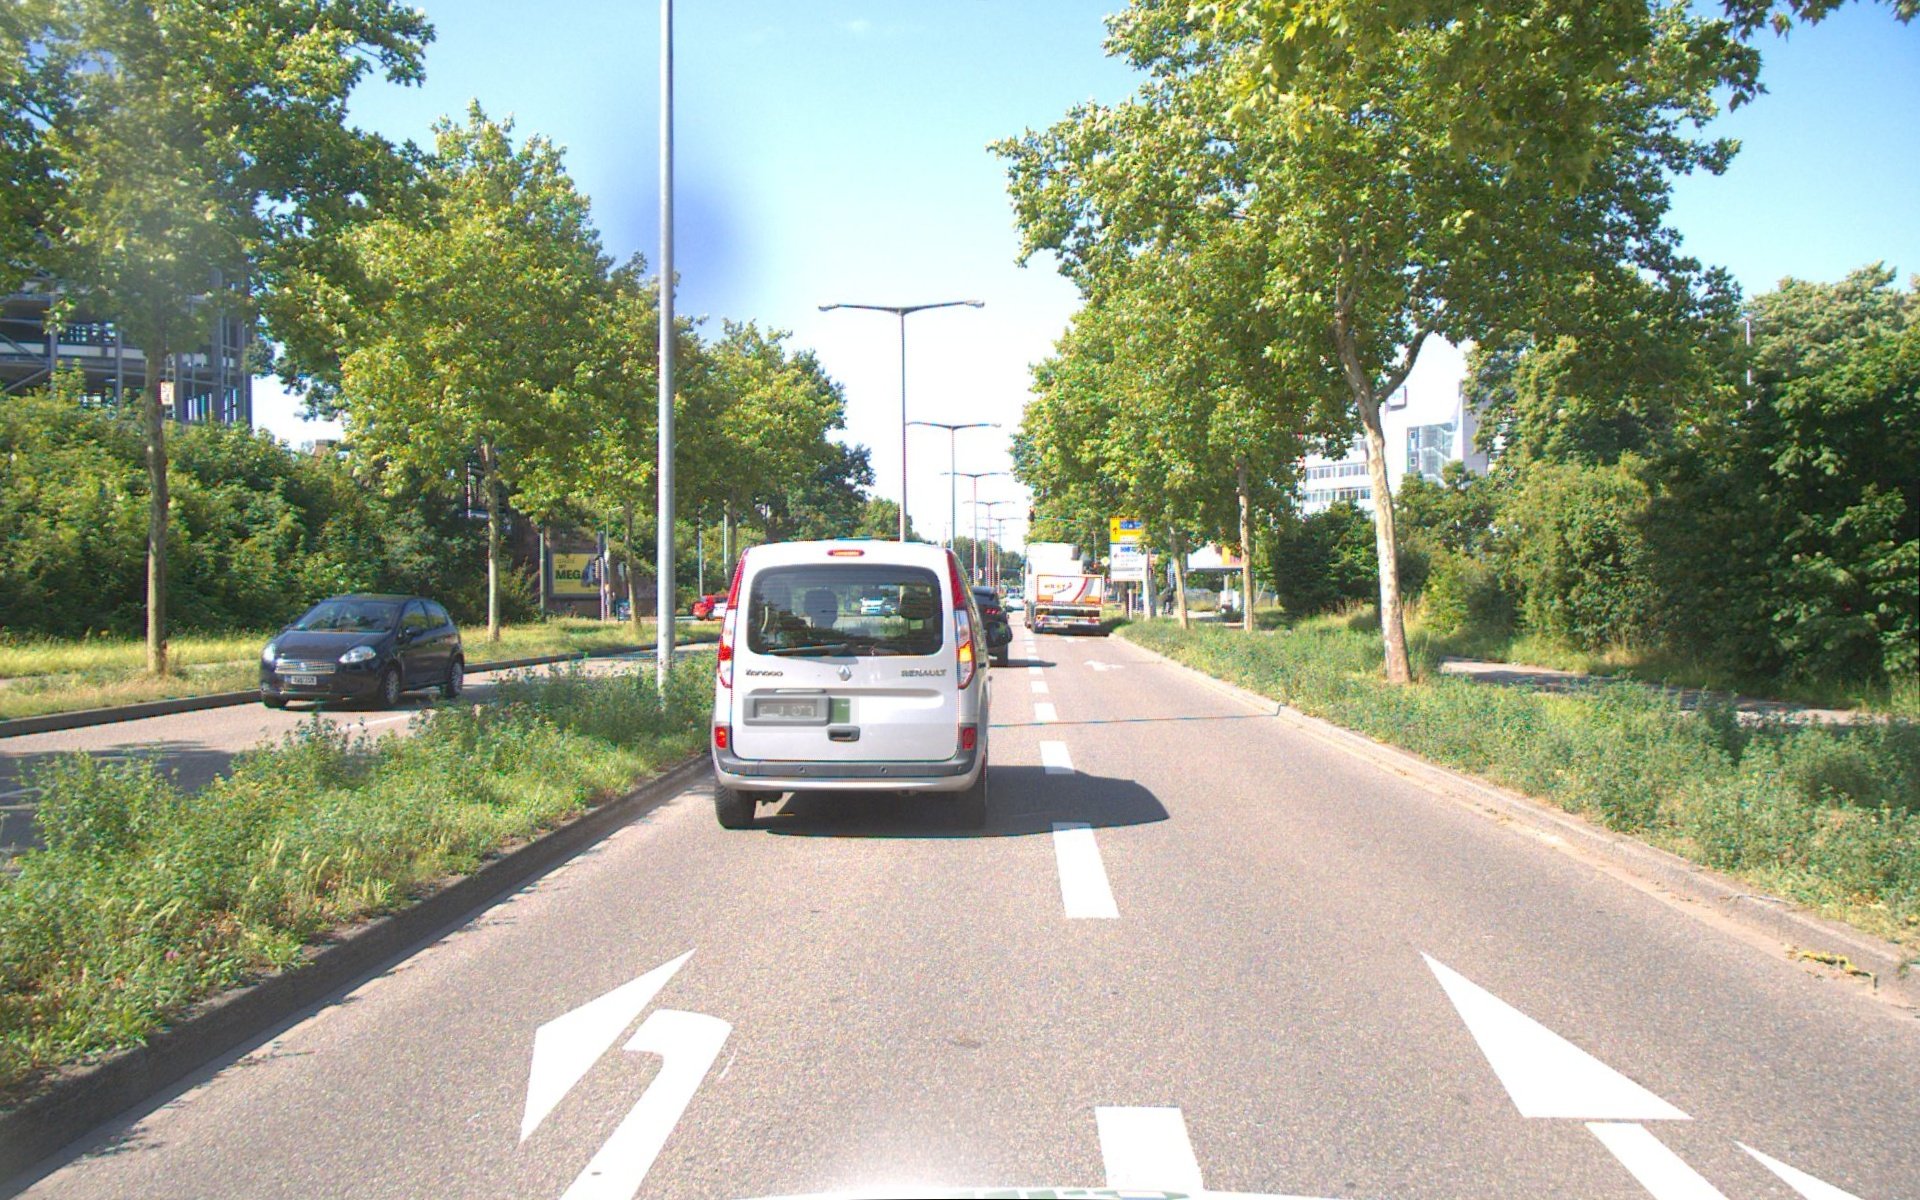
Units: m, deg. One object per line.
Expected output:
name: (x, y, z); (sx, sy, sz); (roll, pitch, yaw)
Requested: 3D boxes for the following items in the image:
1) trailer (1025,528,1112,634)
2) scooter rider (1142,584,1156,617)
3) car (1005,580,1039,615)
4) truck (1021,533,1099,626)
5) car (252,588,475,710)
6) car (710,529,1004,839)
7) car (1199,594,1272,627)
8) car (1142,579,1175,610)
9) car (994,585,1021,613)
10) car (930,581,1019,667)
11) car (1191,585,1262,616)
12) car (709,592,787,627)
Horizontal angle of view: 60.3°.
trailer: (4.171, -0.650, 66.134); (2.953, 3.806, 12.242); (1, 0, 2)
scooter rider: (7.812, 0.024, 68.500); (0.487, 1.361, 0.563); (1, -1, -1)
car: (3.033, -0.111, 81.142); (1.436, 1.664, 3.470); (1, 0, -1)
truck: (4.309, -0.852, 72.552); (3.008, 3.824, 7.476); (1, 0, 1)
car: (-8.017, 0.621, 22.606); (1.538, 1.495, 3.927); (1, 0, 1)
car: (-0.576, 0.503, 11.767); (1.713, 1.803, 3.949); (1, 0, 1)
car: (15.119, 0.572, 90.884); (3.902, 1.691, 1.724); (1, 0, 7)
car: (12.230, -0.327, 101.906); (1.778, 1.826, 3.444); (1, 0, 3)
car: (3.620, -0.071, 126.104); (1.680, 2.049, 3.997); (1, 0, -4)
car: (0.264, 0.488, 35.517); (1.773, 1.713, 3.999); (1, 0, -1)
car: (15.185, 0.009, 94.296); (3.902, 1.691, 1.724); (1, 0, 7)
car: (-11.971, 0.522, 93.359); (3.941, 1.892, 1.982); (1, 0, -28)
